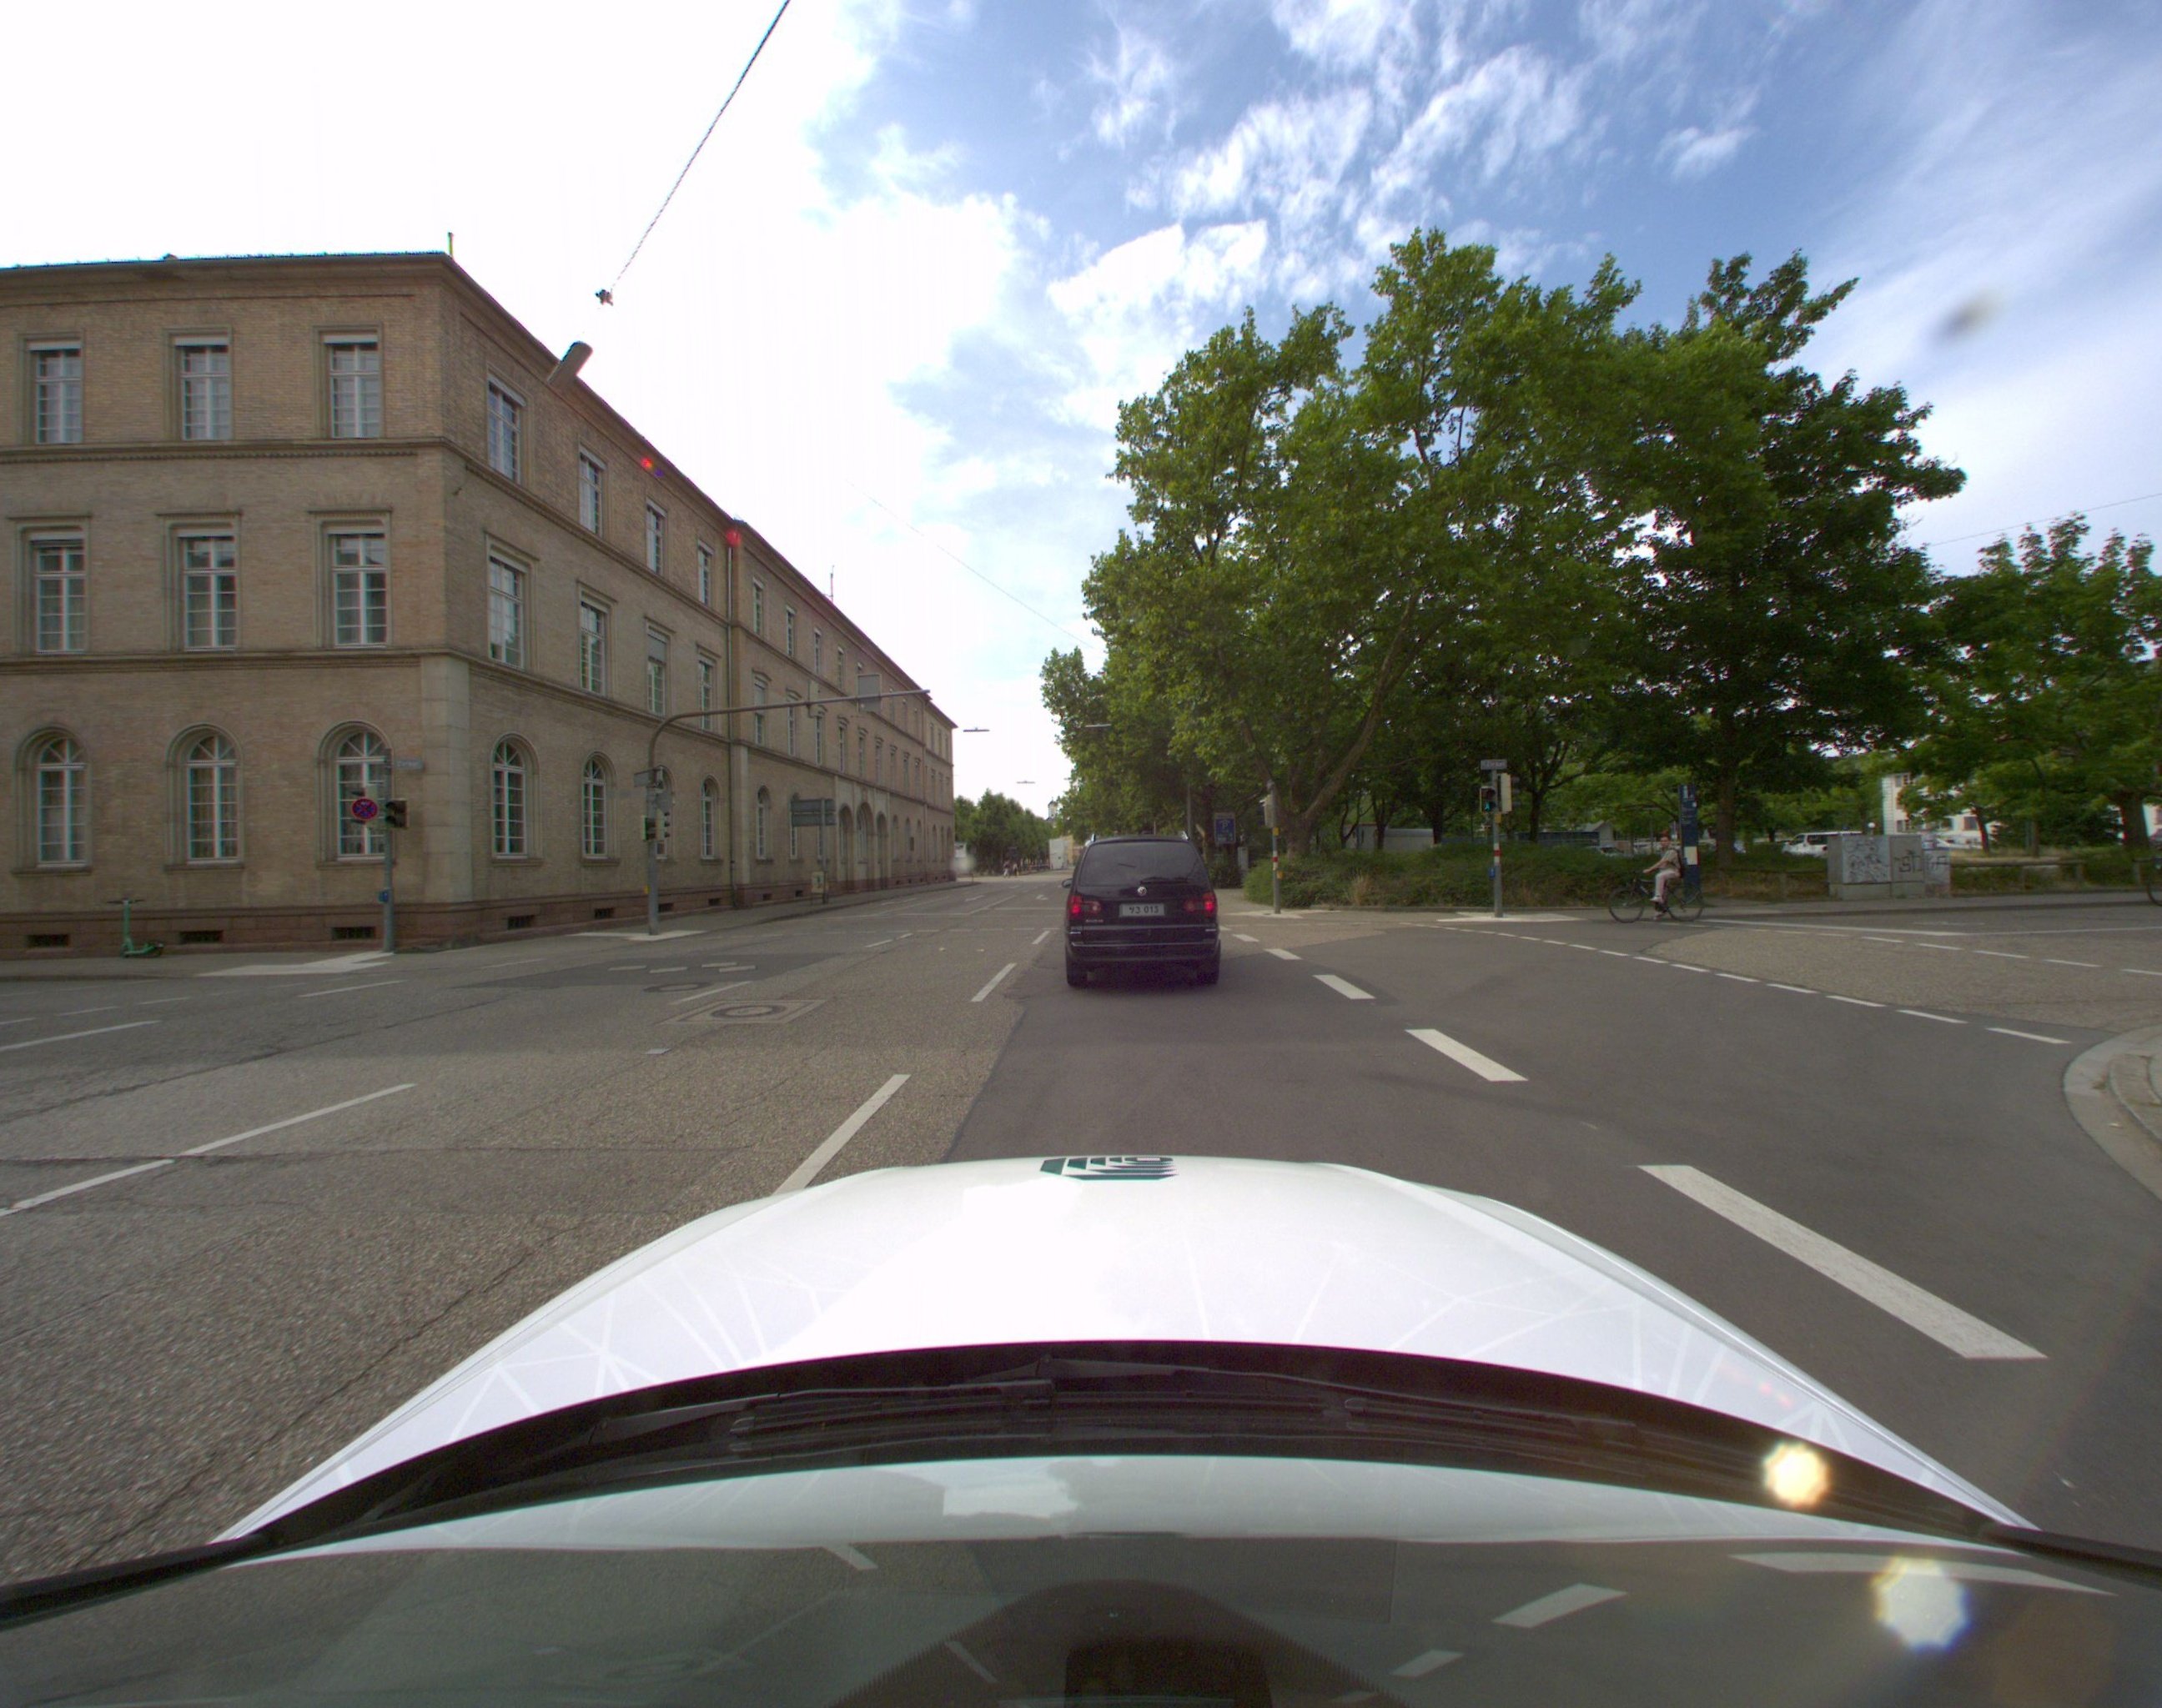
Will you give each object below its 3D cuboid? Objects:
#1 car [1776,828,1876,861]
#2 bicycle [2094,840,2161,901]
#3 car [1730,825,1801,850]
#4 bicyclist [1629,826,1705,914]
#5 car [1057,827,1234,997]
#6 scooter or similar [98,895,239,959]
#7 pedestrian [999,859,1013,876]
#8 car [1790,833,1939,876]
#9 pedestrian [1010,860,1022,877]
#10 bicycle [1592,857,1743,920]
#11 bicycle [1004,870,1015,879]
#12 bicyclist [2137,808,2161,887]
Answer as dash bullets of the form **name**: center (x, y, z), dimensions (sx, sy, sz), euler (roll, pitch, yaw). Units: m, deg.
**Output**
- **car**: center (48.010, -0.558, 52.614), dimensions (1.989, 2.014, 4.768), euler (0, 0, -3)
- **bicycle**: center (21.849, 0.299, 16.123), dimensions (2.233, 1.172, 0.917), euler (-2, -2, 6)
- **car**: center (58.033, -1.327, 69.156), dimensions (1.988, 2.014, 4.771), euler (0, 0, -1)
- **bicyclist**: center (11.589, 0.315, 16.144), dimensions (0.825, 1.678, 0.917), euler (-1, -2, 6)
- **car**: center (0.718, 0.607, 10.510), dimensions (1.787, 1.708, 4.132), euler (-2, 0, 1)
- **scooter or similar**: center (-17.705, 1.393, 15.815), dimensions (2.355, 1.165, 0.561), euler (0, 0, 7)
- **pedestrian**: center (-7.642, 1.401, 83.286), dimensions (0.952, 1.741, 1.262), euler (0, 0, 20)
- **car**: center (34.528, 0.041, 36.123), dimensions (1.988, 1.794, 4.771), euler (0, 0, -1)
- **pedestrian**: center (-6.584, 1.454, 82.687), dimensions (0.888, 1.641, 0.856), euler (0, -1, 20)
- **bicycle**: center (11.568, 0.675, 16.129), dimensions (2.233, 1.172, 0.917), euler (-2, -2, 6)
- **bicycle**: center (-9.279, 2.578, 104.978), dimensions (0.954, 1.110, 2.566), euler (0, 0, -16)
- **bicyclist**: center (21.988, -0.151, 16.138), dimensions (0.825, 1.577, 0.917), euler (-1, -2, 6)
